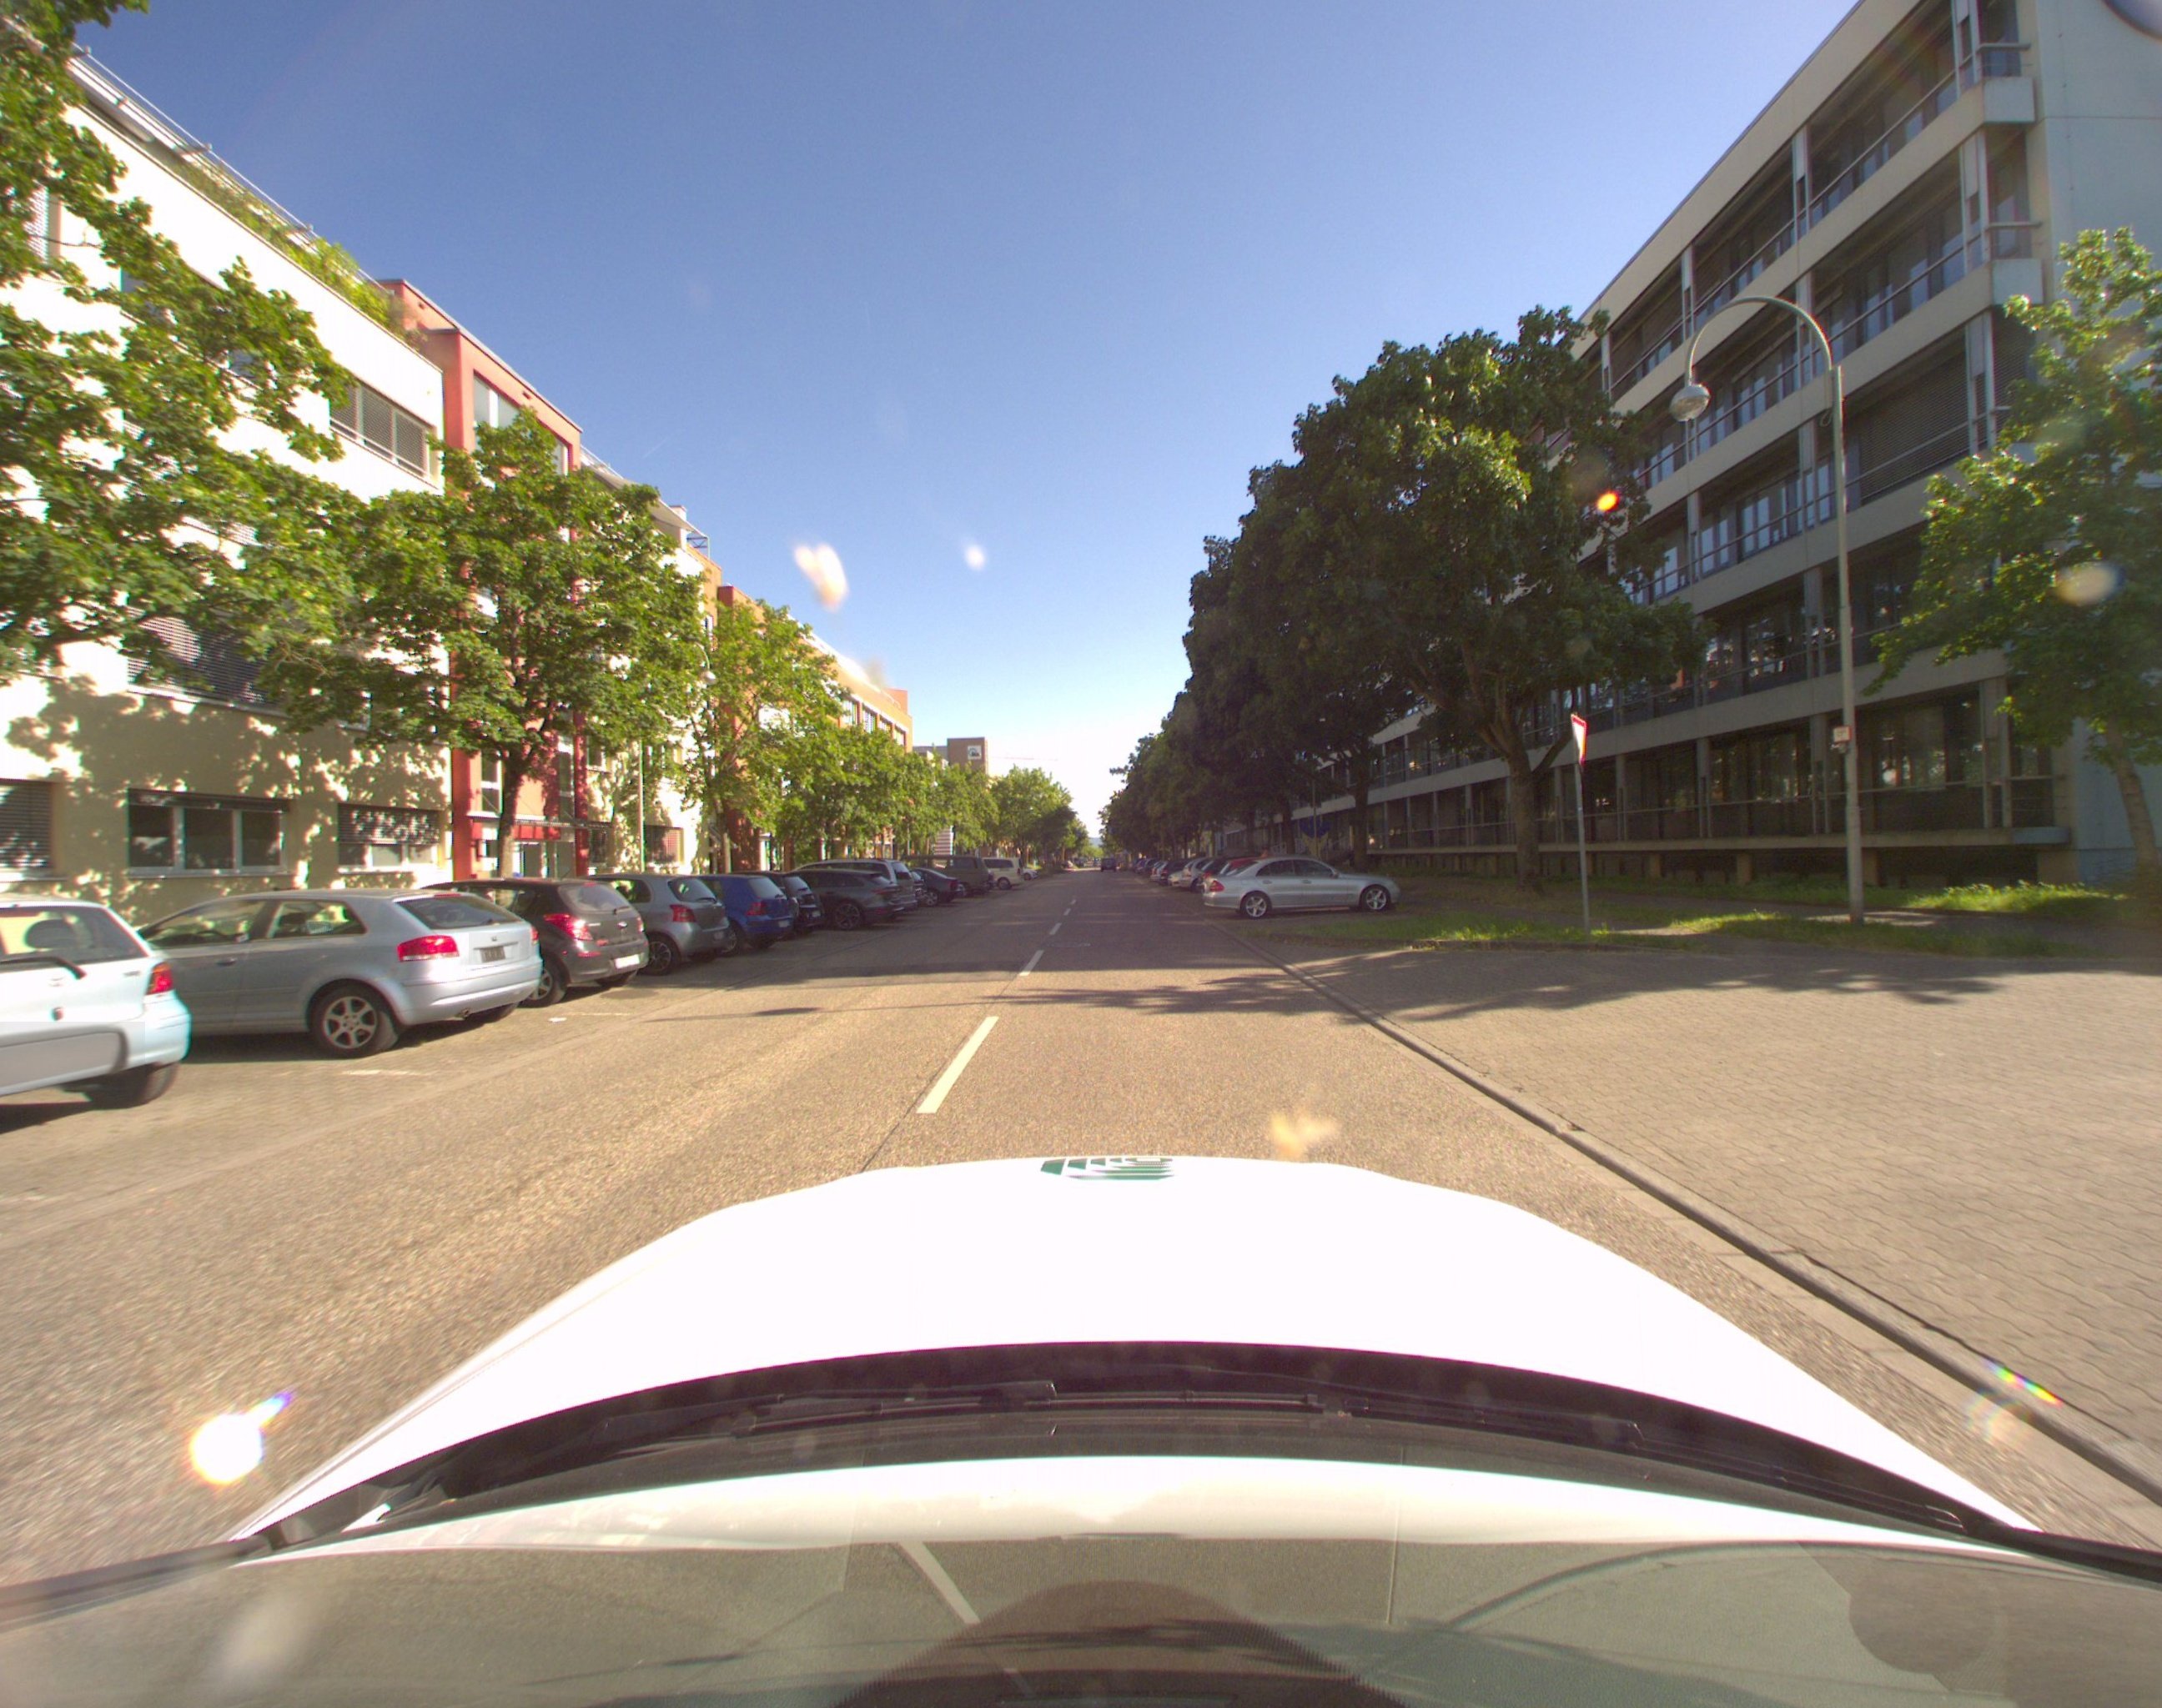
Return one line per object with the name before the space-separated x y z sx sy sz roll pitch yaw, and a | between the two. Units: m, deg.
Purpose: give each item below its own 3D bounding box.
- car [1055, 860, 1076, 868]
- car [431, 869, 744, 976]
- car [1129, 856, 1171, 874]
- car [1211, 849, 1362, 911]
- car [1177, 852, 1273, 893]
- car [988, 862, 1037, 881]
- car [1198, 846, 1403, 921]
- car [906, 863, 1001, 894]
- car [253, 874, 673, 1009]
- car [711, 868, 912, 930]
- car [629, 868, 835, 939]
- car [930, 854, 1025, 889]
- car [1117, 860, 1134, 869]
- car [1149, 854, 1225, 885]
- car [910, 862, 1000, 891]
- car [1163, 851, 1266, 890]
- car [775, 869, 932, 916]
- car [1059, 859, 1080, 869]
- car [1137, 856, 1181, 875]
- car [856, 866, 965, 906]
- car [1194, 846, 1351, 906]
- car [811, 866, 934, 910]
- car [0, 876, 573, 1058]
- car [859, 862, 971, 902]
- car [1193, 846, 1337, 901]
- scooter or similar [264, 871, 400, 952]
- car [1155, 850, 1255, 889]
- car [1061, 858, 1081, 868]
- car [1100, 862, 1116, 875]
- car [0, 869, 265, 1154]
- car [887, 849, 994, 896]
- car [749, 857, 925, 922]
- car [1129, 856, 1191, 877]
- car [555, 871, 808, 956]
car | -2.877 1.764 150.487 3.842 1.473 1.809 0 -1 -5
car | -7.498 1.000 12.677 3.713 1.508 1.860 0 -1 0
car | 7.599 1.212 89.948 4.339 1.704 1.811 -4 -1 -2
car | 5.706 0.707 23.010 3.819 1.447 1.924 -4 -1 5
car | 6.137 0.785 34.992 3.733 1.493 1.615 -4 -1 -2
car | -5.868 1.499 69.988 3.974 1.486 1.806 -1 -1 0
car | 5.299 0.702 20.108 4.560 1.475 1.748 -4 -1 2
car | -6.245 1.196 40.162 4.302 1.477 1.944 0 -1 3
car | -7.401 1.001 10.106 3.717 1.447 1.858 0 -1 -2
car | -6.578 1.078 20.215 4.389 1.427 1.772 0 -1 -1
car | -7.514 1.043 17.813 3.713 1.427 1.772 0 -1 0
car | -5.952 0.988 47.457 5.239 1.967 1.943 0 -1 1
car | 10.652 2.523 194.030 3.975 2.014 1.999 -2 -1 -1
car | 5.878 0.864 45.457 3.958 1.420 1.710 -4 -1 -1
car | -6.587 1.163 42.896 4.302 1.477 1.944 0 -1 3
car | 6.101 0.751 37.539 4.275 1.493 2.002 -4 -1 -3
car | -6.927 1.173 25.122 4.306 1.358 1.757 0 -1 0
car | -2.433 2.120 171.909 3.967 2.014 2.003 -2 -1 5
car | 7.199 1.046 75.701 3.933 1.514 1.814 -4 -1 2
car | -6.208 1.155 30.010 3.719 1.427 1.722 0 -1 -5
car | 5.876 0.667 25.458 4.493 1.542 1.924 -4 -1 5
car | -7.036 1.140 27.756 3.713 1.427 1.725 0 -1 0
car | -7.300 0.965 7.743 3.717 1.447 1.874 0 -1 -2
car | -6.607 1.102 32.767 4.117 1.528 1.725 0 -1 1
car | 6.220 0.660 28.007 4.497 1.542 1.923 -4 -1 2
scooter or similar | -14.839 1.087 16.222 0.652 1.446 2.110 -3 -1 2
car | 6.052 0.758 40.046 4.575 1.493 1.763 -4 -1 1
car | -2.065 1.970 175.281 3.967 2.014 2.003 -2 -1 5
car | 3.502 1.820 105.034 1.986 1.640 4.001 0 -1 1
car | -7.945 0.895 5.060 3.877 1.574 1.860 0 -1 1
car | -6.420 0.854 37.484 4.469 2.090 2.084 0 -1 3
car | -6.717 0.963 22.811 4.308 1.717 1.961 0 -1 -1
car | 6.493 0.997 67.290 4.810 1.420 2.031 -4 -1 -1
car | -7.193 1.047 14.971 3.713 1.427 1.841 0 -1 0
